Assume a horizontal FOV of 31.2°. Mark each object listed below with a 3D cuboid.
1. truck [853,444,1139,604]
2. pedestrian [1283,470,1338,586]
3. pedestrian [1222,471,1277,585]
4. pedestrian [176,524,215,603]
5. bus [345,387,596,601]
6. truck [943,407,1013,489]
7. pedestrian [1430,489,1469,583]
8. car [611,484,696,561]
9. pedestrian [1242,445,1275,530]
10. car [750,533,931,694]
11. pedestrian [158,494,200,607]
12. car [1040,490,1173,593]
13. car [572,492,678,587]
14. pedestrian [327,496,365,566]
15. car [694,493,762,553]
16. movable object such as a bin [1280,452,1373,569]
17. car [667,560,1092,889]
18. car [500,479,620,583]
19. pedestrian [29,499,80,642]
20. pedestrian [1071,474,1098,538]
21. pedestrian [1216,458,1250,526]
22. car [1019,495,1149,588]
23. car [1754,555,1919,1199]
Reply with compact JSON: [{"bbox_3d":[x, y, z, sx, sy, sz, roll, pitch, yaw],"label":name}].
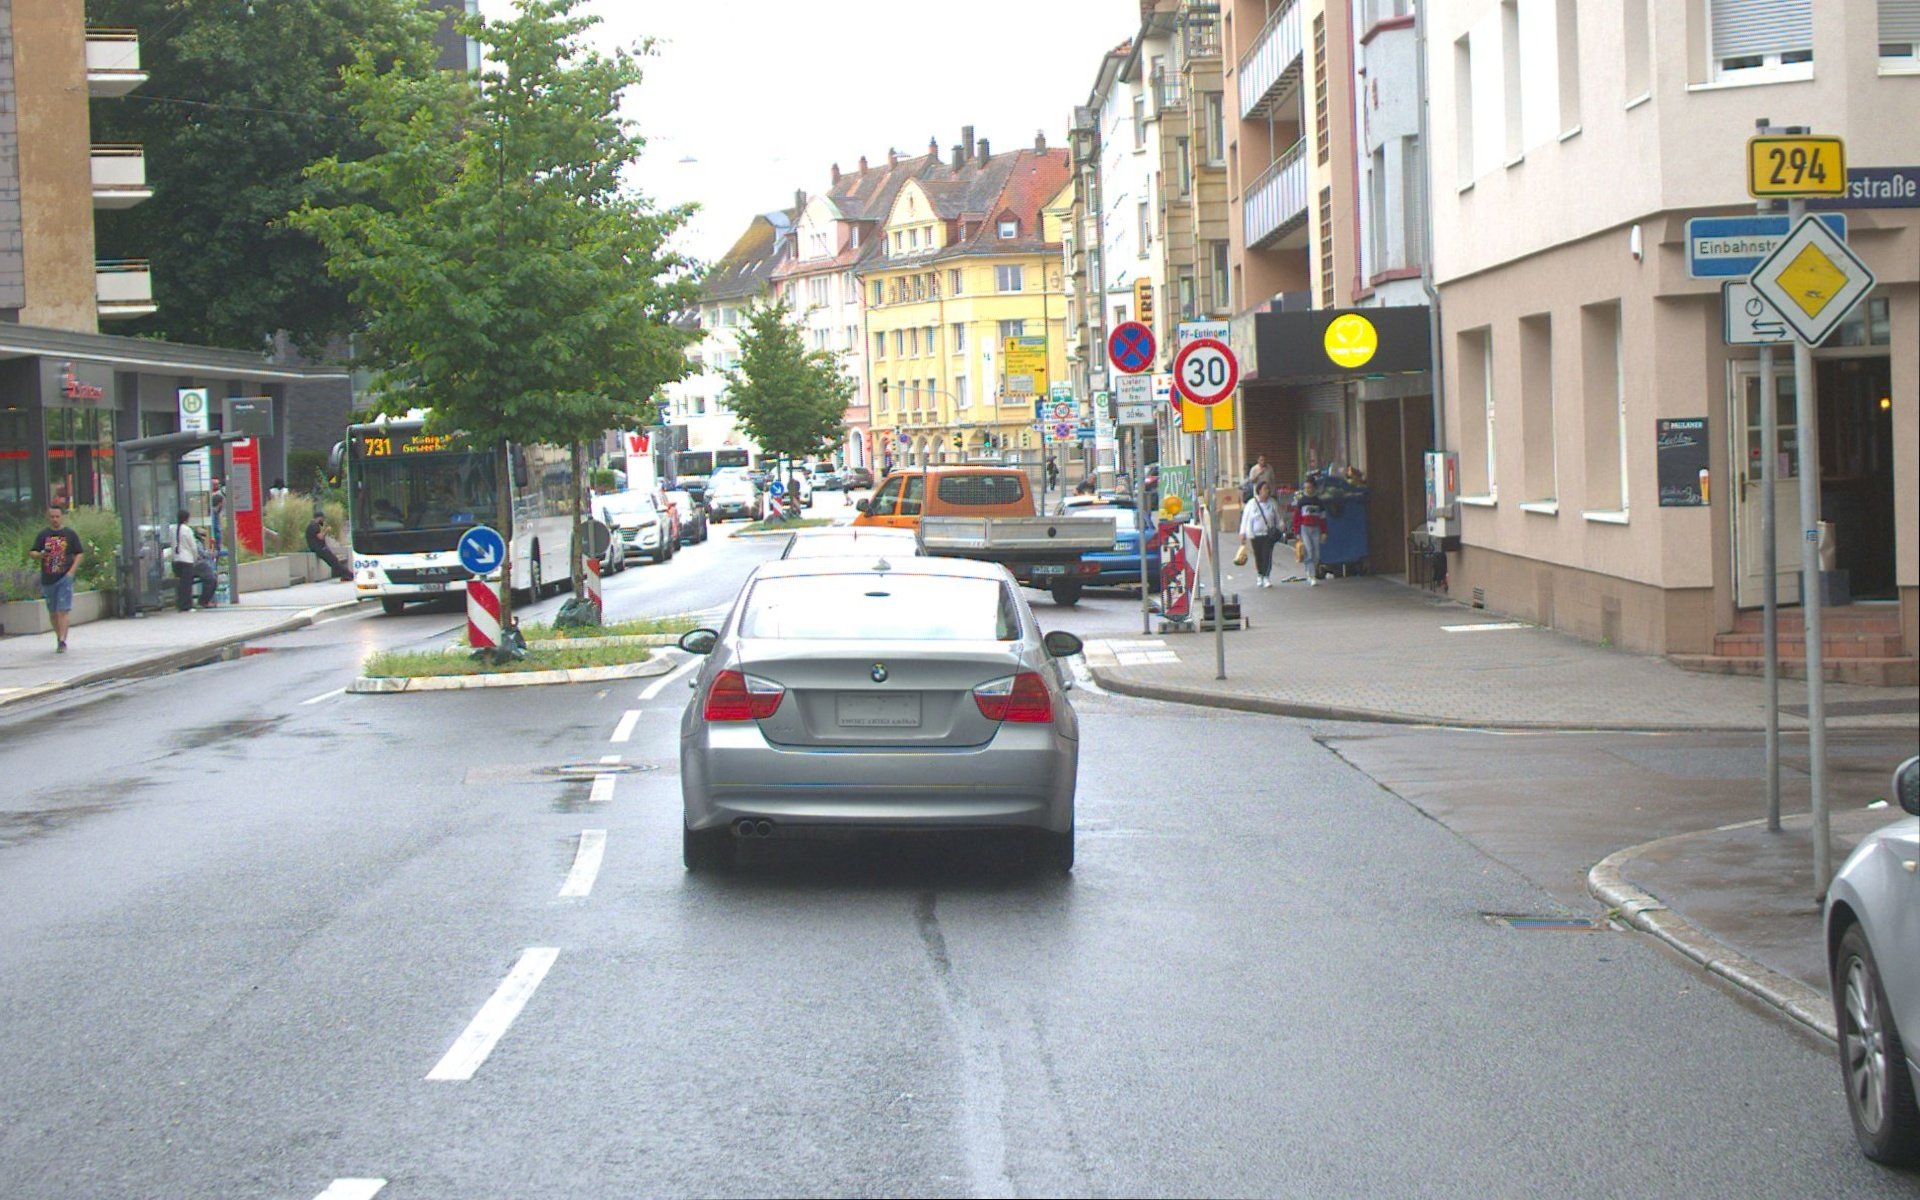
[{"bbox_3d":[0.442,-1.094,49.167,2.215,2.109,4.653,2,1,-25],"label":"truck"},{"bbox_3d":[5.091,-1.041,49.877,0.750,1.655,0.754,1,0,6],"label":"pedestrian"},{"bbox_3d":[4.251,-1.050,50.470,0.749,1.655,0.836,1,0,6],"label":"pedestrian"},{"bbox_3d":[-12.009,-0.569,54.021,0.465,1.226,0.544,1,0,1],"label":"pedestrian"},{"bbox_3d":[-8.095,-1.734,58.415,2.681,3.189,11.957,-2,1,-1],"label":"bus"},{"bbox_3d":[0.588,-5.084,115.598,2.216,2.535,4.780,1,0,-1],"label":"truck"},{"bbox_3d":[6.418,-0.837,45.092,0.412,1.199,0.357,-4,3,3],"label":"pedestrian"},{"bbox_3d":[-8.377,-2.112,94.161,1.993,2.007,4.000,1,0,-1],"label":"car"},{"bbox_3d":[5.935,-2.239,68.396,0.615,1.655,0.754,1,0,6],"label":"pedestrian"},{"bbox_3d":[-1.138,0.115,32.494,1.601,1.415,3.288,1,0,-2],"label":"car"},{"bbox_3d":[-11.850,-0.749,52.201,0.543,1.703,0.466,1,0,-6],"label":"pedestrian"},{"bbox_3d":[2.229,-0.883,53.150,1.809,1.514,4.000,1,0,-1],"label":"car"},{"bbox_3d":[-7.431,-1.333,76.626,1.993,2.007,4.000,-2,0,-1],"label":"car"},{"bbox_3d":[-12.166,-1.367,68.141,0.619,1.373,0.544,1,0,1],"label":"pedestrian"},{"bbox_3d":[-8.244,-2.720,122.411,1.993,2.007,4.000,1,0,2],"label":"car"},{"bbox_3d":[5.510,-1.337,51.825,1.122,1.697,1.434,-3,0,-2],"label":"movable object such as a bin"},{"bbox_3d":[-0.338,0.505,15.822,1.756,1.358,3.165,0,0,0],"label":"car"},{"bbox_3d":[-8.143,-1.385,70.230,1.993,2.007,4.000,-2,0,-1],"label":"car"},{"bbox_3d":[-11.463,-0.370,43.517,0.542,1.783,0.466,1,0,-9],"label":"pedestrian"},{"bbox_3d":[2.757,-2.076,76.036,0.522,1.416,0.430,1,0,9],"label":"pedestrian"},{"bbox_3d":[5.772,-2.275,72.638,0.565,1.416,0.796,1,0,13],"label":"pedestrian"},{"bbox_3d":[2.091,-0.981,58.973,1.993,1.514,4.000,1,0,-1],"label":"car"},{"bbox_3d":[2.897,0.631,6.992,1.569,1.459,4.089,-3,1,0],"label":"car"}]
